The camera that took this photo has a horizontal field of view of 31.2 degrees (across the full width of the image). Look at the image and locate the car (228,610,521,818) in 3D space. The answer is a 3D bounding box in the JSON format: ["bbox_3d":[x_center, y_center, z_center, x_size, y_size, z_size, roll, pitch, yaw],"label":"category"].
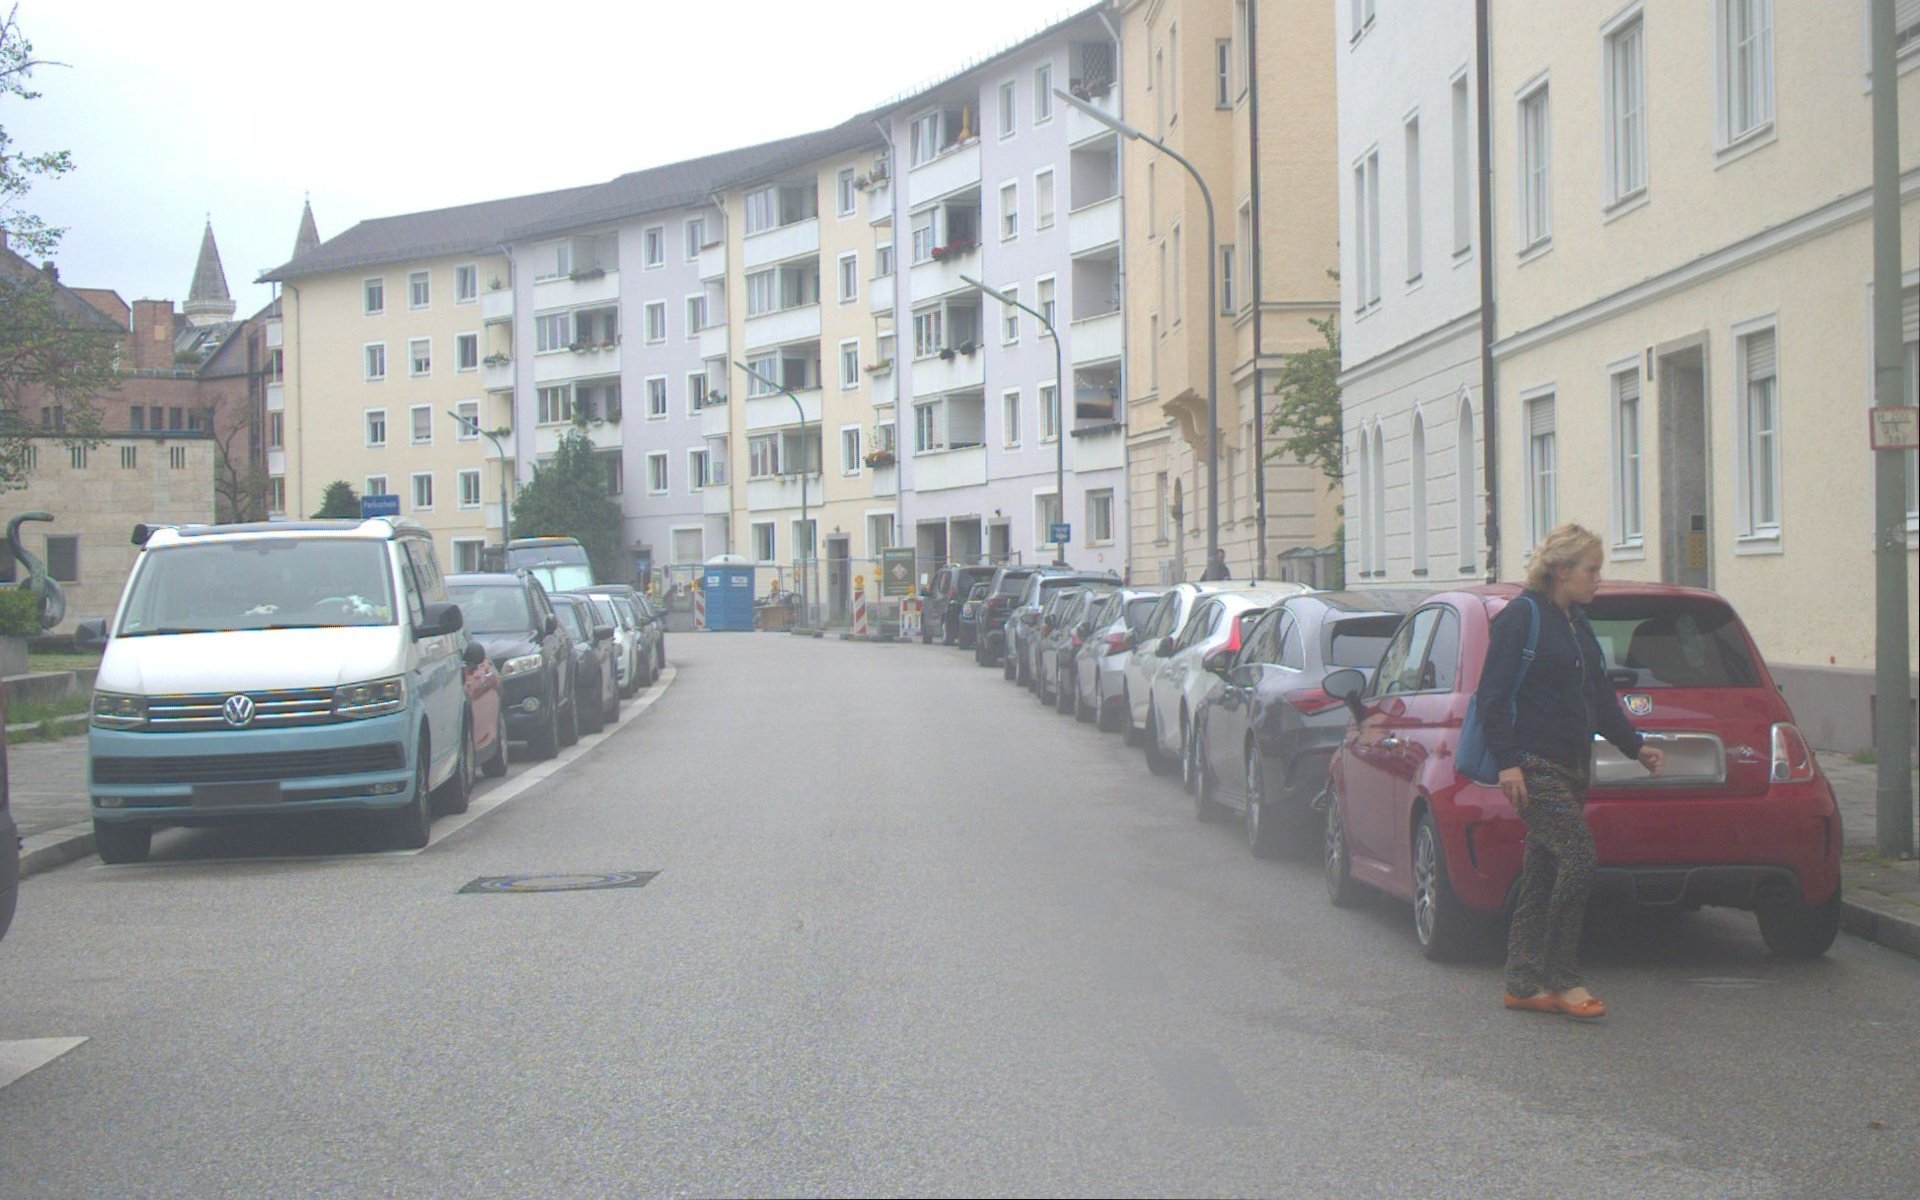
[{"bbox_3d":[-4.350,0.805,25.988,1.652,1.368,3.652,-3,0,-2],"label":"car"}]

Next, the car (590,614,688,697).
[{"bbox_3d":[-5.837,0.994,62.801,1.623,1.414,3.648,-2,0,-3],"label":"car"}]

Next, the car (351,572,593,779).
[{"bbox_3d":[-4.396,0.648,31.485,1.701,1.685,4.028,-3,0,-2],"label":"car"}]

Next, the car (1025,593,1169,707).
[{"bbox_3d":[1.762,0.634,45.154,1.590,1.428,3.825,0,0,-2],"label":"car"}]

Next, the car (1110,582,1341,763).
[{"bbox_3d":[2.295,0.599,30.509,1.599,1.486,3.799,-1,0,-2],"label":"car"}]

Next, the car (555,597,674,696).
[{"bbox_3d":[-5.295,0.711,53.067,1.623,1.414,3.982,-2,0,-3],"label":"car"}]

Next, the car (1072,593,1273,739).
[{"bbox_3d":[2.143,0.678,35.586,1.692,1.428,3.944,0,-1,-2],"label":"car"}]

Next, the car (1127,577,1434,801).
[{"bbox_3d":[2.304,0.617,25.700,1.692,1.486,4.283,-2,0,-2],"label":"car"}]

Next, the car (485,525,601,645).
[{"bbox_3d":[-9.616,-0.317,79.074,1.770,2.645,4.001,2,-1,-19],"label":"car"}]

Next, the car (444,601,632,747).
[{"bbox_3d":[-4.492,0.767,37.014,1.623,1.407,3.799,-3,0,-2],"label":"car"}]

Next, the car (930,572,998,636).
[{"bbox_3d":[0.074,0.101,71.703,1.272,1.294,2.797,-1,0,-2],"label":"car"}]

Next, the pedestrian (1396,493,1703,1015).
[{"bbox_3d":[2.022,0.524,11.831,0.793,1.722,0.673,1,-2,-25],"label":"pedestrian"}]

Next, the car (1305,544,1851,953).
[{"bbox_3d":[2.517,0.571,14.834,1.595,1.504,3.800,-1,0,-1],"label":"car"}]

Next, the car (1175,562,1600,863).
[{"bbox_3d":[2.315,0.608,19.686,1.692,1.486,4.343,-2,-1,-2],"label":"car"}]

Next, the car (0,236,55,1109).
[{"bbox_3d":[-3.958,0.232,8.198,2.088,2.627,5.376,-1,0,1],"label":"car"}]

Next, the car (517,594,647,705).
[{"bbox_3d":[-5.227,0.677,47.876,1.623,1.414,3.982,-2,0,-4],"label":"car"}]

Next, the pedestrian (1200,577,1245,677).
[{"bbox_3d":[4.467,0.458,58.596,0.667,1.687,0.690,1,-1,-1],"label":"pedestrian"}]

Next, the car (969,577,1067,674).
[{"bbox_3d":[0.978,0.429,60.047,1.474,1.635,4.001,0,0,-2],"label":"car"}]

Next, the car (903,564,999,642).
[{"bbox_3d":[-0.218,0.066,76.777,1.601,1.709,3.090,0,0,-11],"label":"car"}]

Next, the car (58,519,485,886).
[{"bbox_3d":[-4.112,0.567,21.257,1.882,1.925,4.601,-3,0,-3],"label":"car"}]

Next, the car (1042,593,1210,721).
[{"bbox_3d":[1.903,0.642,40.551,1.590,1.428,4.421,0,0,-2],"label":"car"}]

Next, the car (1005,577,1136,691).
[{"bbox_3d":[1.574,0.476,50.108,1.590,1.577,4.299,0,0,-2],"label":"car"}]
